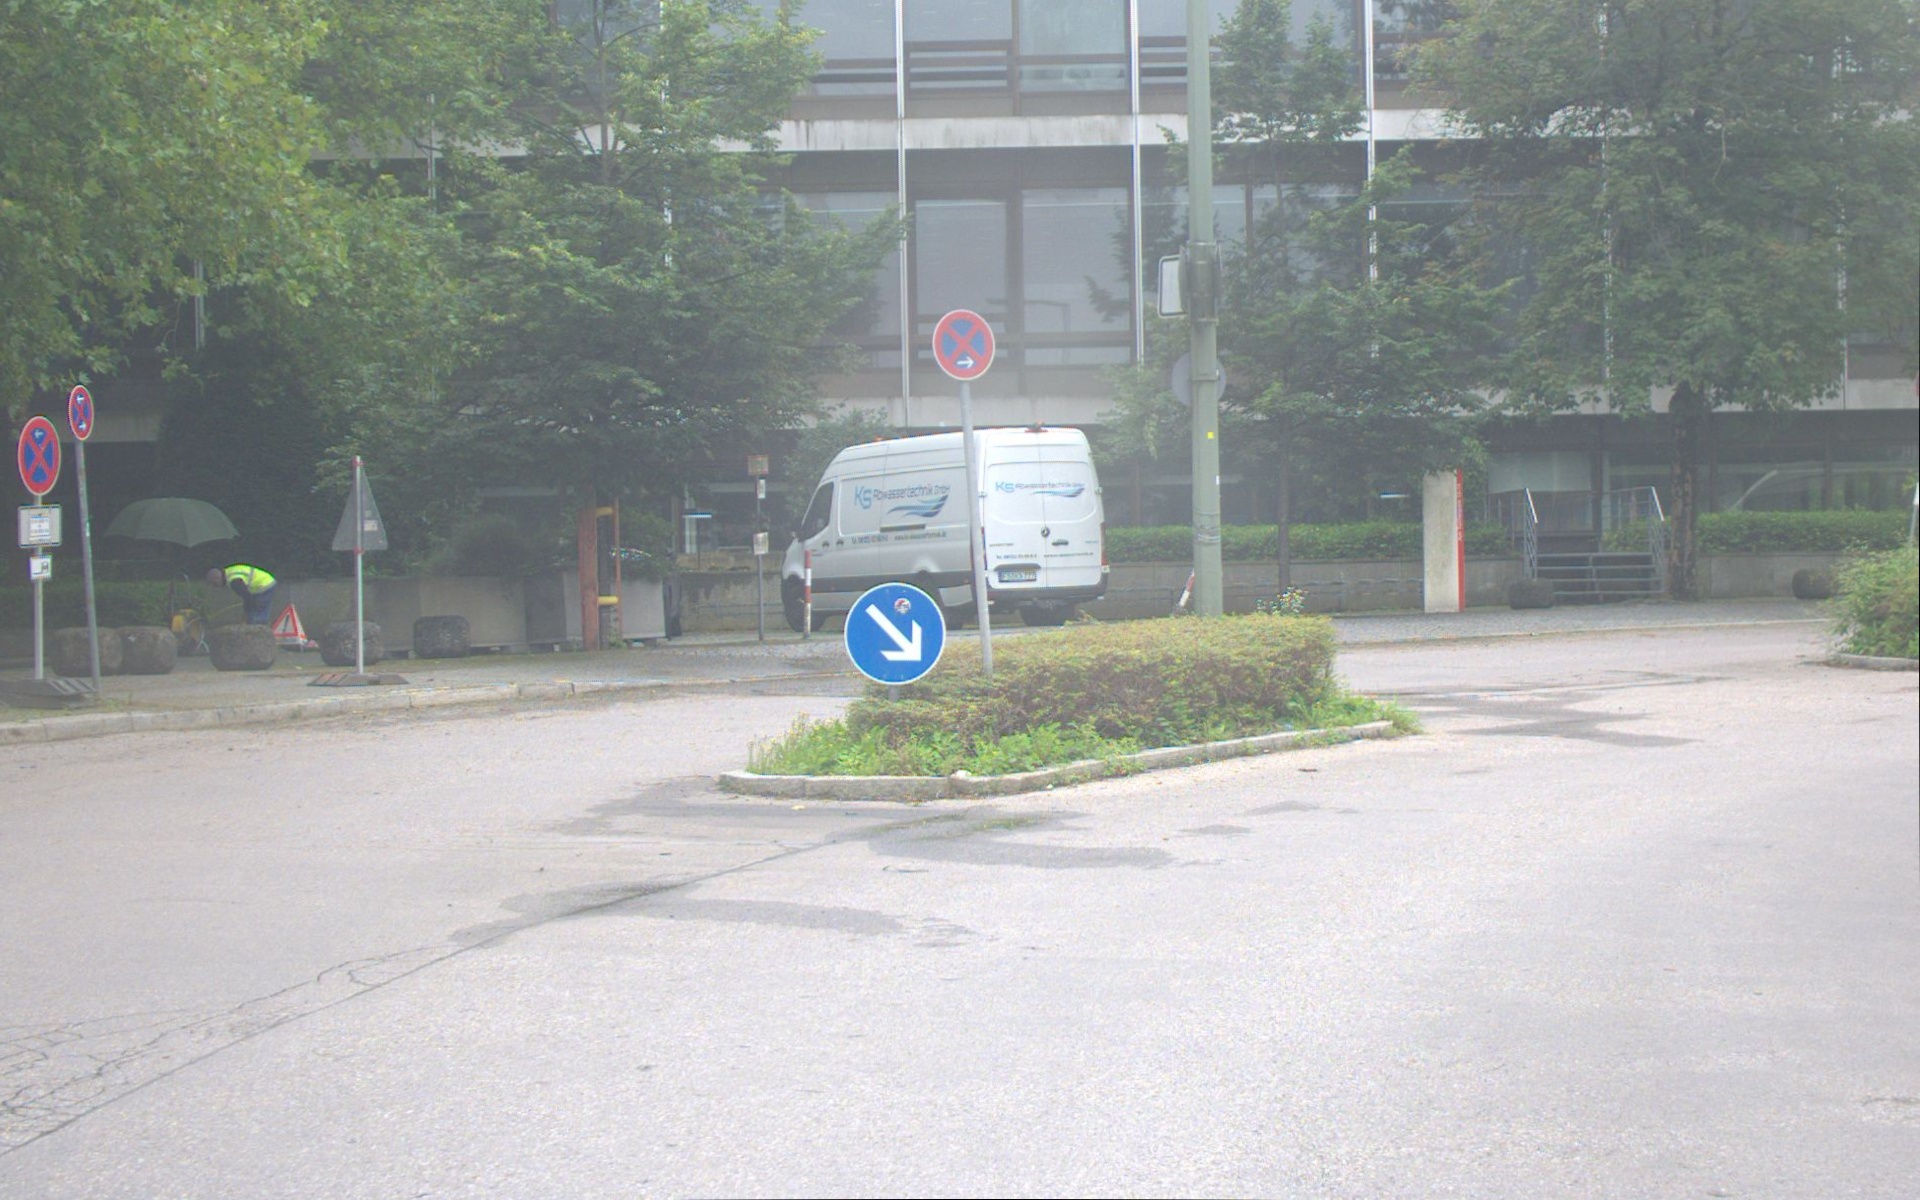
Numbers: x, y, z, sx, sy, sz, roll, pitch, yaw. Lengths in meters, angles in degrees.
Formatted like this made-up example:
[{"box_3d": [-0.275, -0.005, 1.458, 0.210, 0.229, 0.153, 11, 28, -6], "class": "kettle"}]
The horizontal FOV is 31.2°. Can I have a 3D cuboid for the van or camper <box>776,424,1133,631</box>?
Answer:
[{"box_3d": [-0.200, -0.908, 46.918, 2.155, 2.572, 6.539, -1, -1, -26], "class": "van or camper"}]

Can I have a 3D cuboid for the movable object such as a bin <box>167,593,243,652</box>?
[{"box_3d": [-9.807, 0.289, 44.663, 0.834, 0.751, 0.572, -1, 1, 2], "class": "movable object such as a bin"}]

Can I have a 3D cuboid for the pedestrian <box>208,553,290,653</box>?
[{"box_3d": [-9.244, 0.032, 44.701, 0.926, 1.273, 0.542, -1, 1, 1], "class": "pedestrian"}]
